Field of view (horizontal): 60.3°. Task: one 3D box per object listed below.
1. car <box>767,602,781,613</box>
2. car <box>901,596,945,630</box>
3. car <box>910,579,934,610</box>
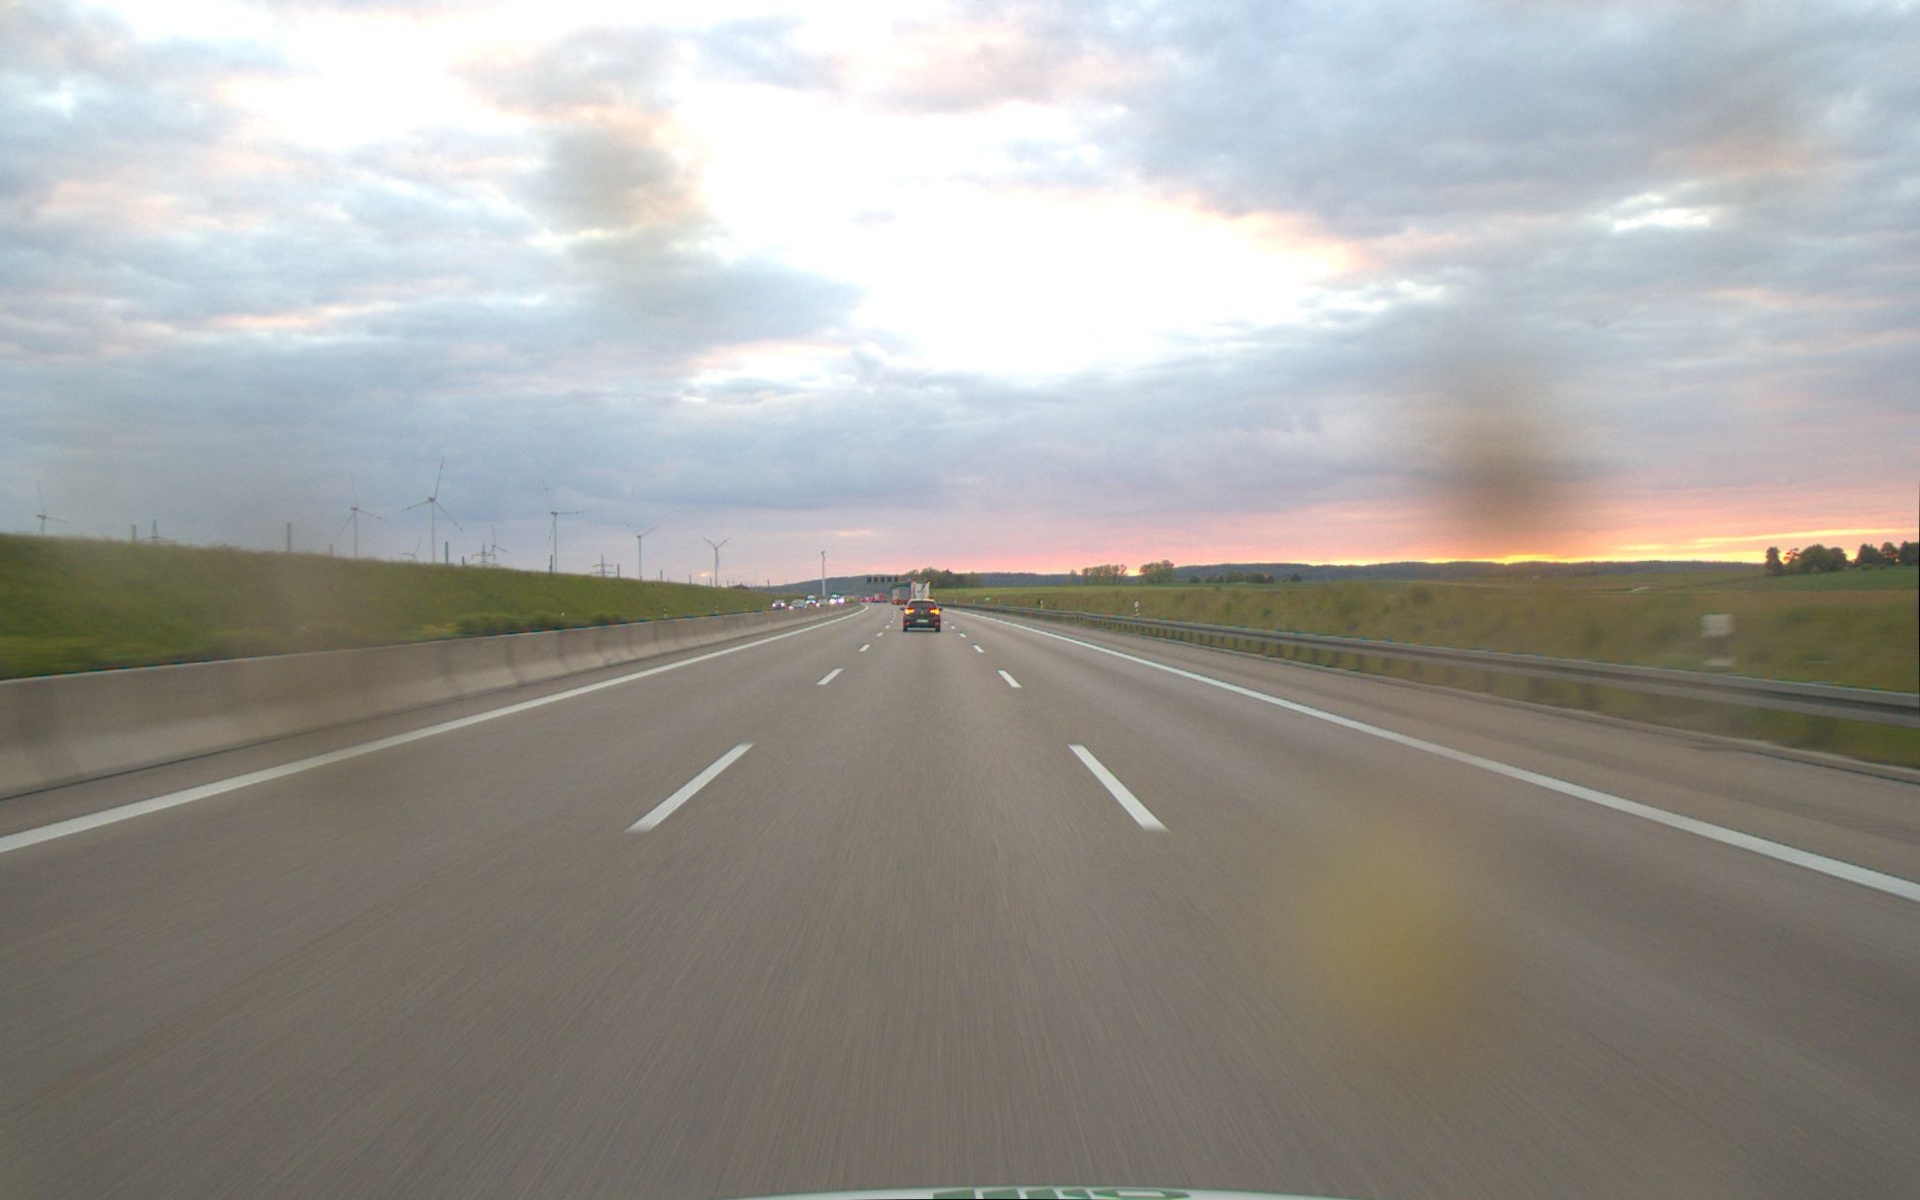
[{"bbox_3d":[-28.098,1.186,250.038,1.825,1.580,4.579,-1,0,-3],"label":"car"},{"bbox_3d":[-1.674,0.573,75.230,1.947,1.455,3.999,-1,0,-1],"label":"car"},{"bbox_3d":[-4.765,-0.629,205.243,2.875,3.712,8.595,-1,0,-2],"label":"car"}]
